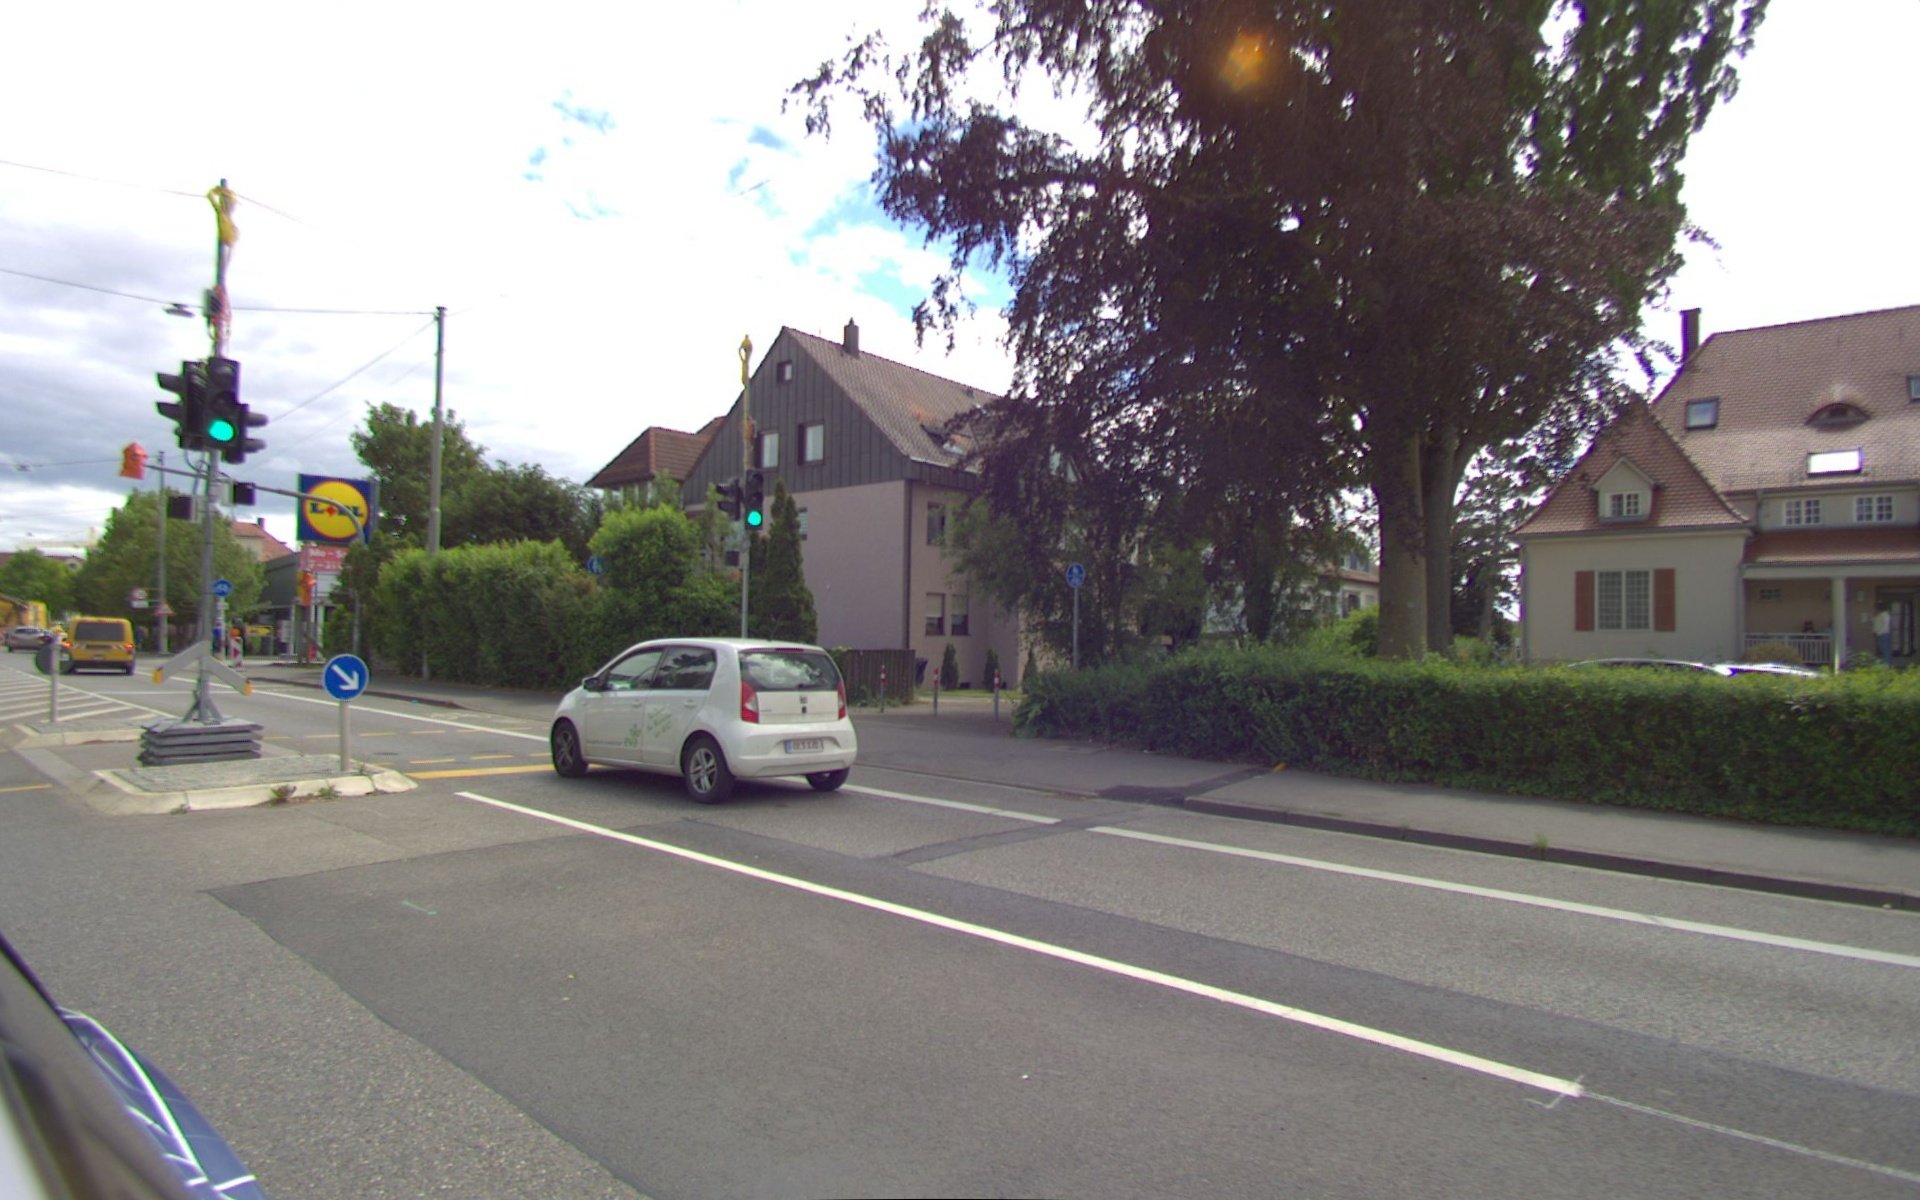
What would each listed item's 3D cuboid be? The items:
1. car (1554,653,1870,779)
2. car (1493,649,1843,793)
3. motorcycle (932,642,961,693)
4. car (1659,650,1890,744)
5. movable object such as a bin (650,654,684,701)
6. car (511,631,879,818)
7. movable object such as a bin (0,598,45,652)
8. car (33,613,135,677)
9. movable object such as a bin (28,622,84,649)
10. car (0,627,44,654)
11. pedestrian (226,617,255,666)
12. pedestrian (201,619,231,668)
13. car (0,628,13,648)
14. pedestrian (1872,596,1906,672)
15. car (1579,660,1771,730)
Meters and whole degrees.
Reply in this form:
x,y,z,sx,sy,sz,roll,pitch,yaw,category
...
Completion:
x,y,z,sx,sy,sz,roll,pitch,yaw,category
10.587,1.541,14.426,3.433,1.527,1.644,-1,-3,40,car
8.828,1.408,12.798,3.433,1.527,1.644,-1,-3,40,car
-0.393,1.959,29.437,0.545,1.431,1.430,2,-3,-12,motorcycle
16.095,1.848,20.145,3.433,1.676,1.644,-1,-3,40,car
-6.097,1.604,21.070,0.532,0.960,0.556,1,-2,-2,movable object such as a bin
-2.798,1.085,10.230,3.998,1.527,1.643,-2,-3,42,car
-79.720,2.148,84.942,2.556,4.254,11.149,3,-4,-34,movable object such as a bin
-28.338,1.434,32.681,4.683,1.919,1.822,-1,-4,42,car
-94.504,3.764,105.950,1.965,2.646,6.542,2,-3,-20,movable object such as a bin
-58.200,2.486,62.645,4.400,1.567,1.731,-2,-4,42,car
-27.930,1.621,39.285,0.706,1.869,0.674,-1,-3,42,pedestrian
-28.414,1.655,38.654,0.892,1.869,0.674,-1,-3,42,pedestrian
-72.014,2.755,75.119,4.809,1.410,1.972,-1,-5,42,car
23.875,0.881,26.024,0.583,1.923,0.584,-2,-4,41,pedestrian
18.370,2.370,26.080,3.872,1.564,1.844,-1,-3,42,car
